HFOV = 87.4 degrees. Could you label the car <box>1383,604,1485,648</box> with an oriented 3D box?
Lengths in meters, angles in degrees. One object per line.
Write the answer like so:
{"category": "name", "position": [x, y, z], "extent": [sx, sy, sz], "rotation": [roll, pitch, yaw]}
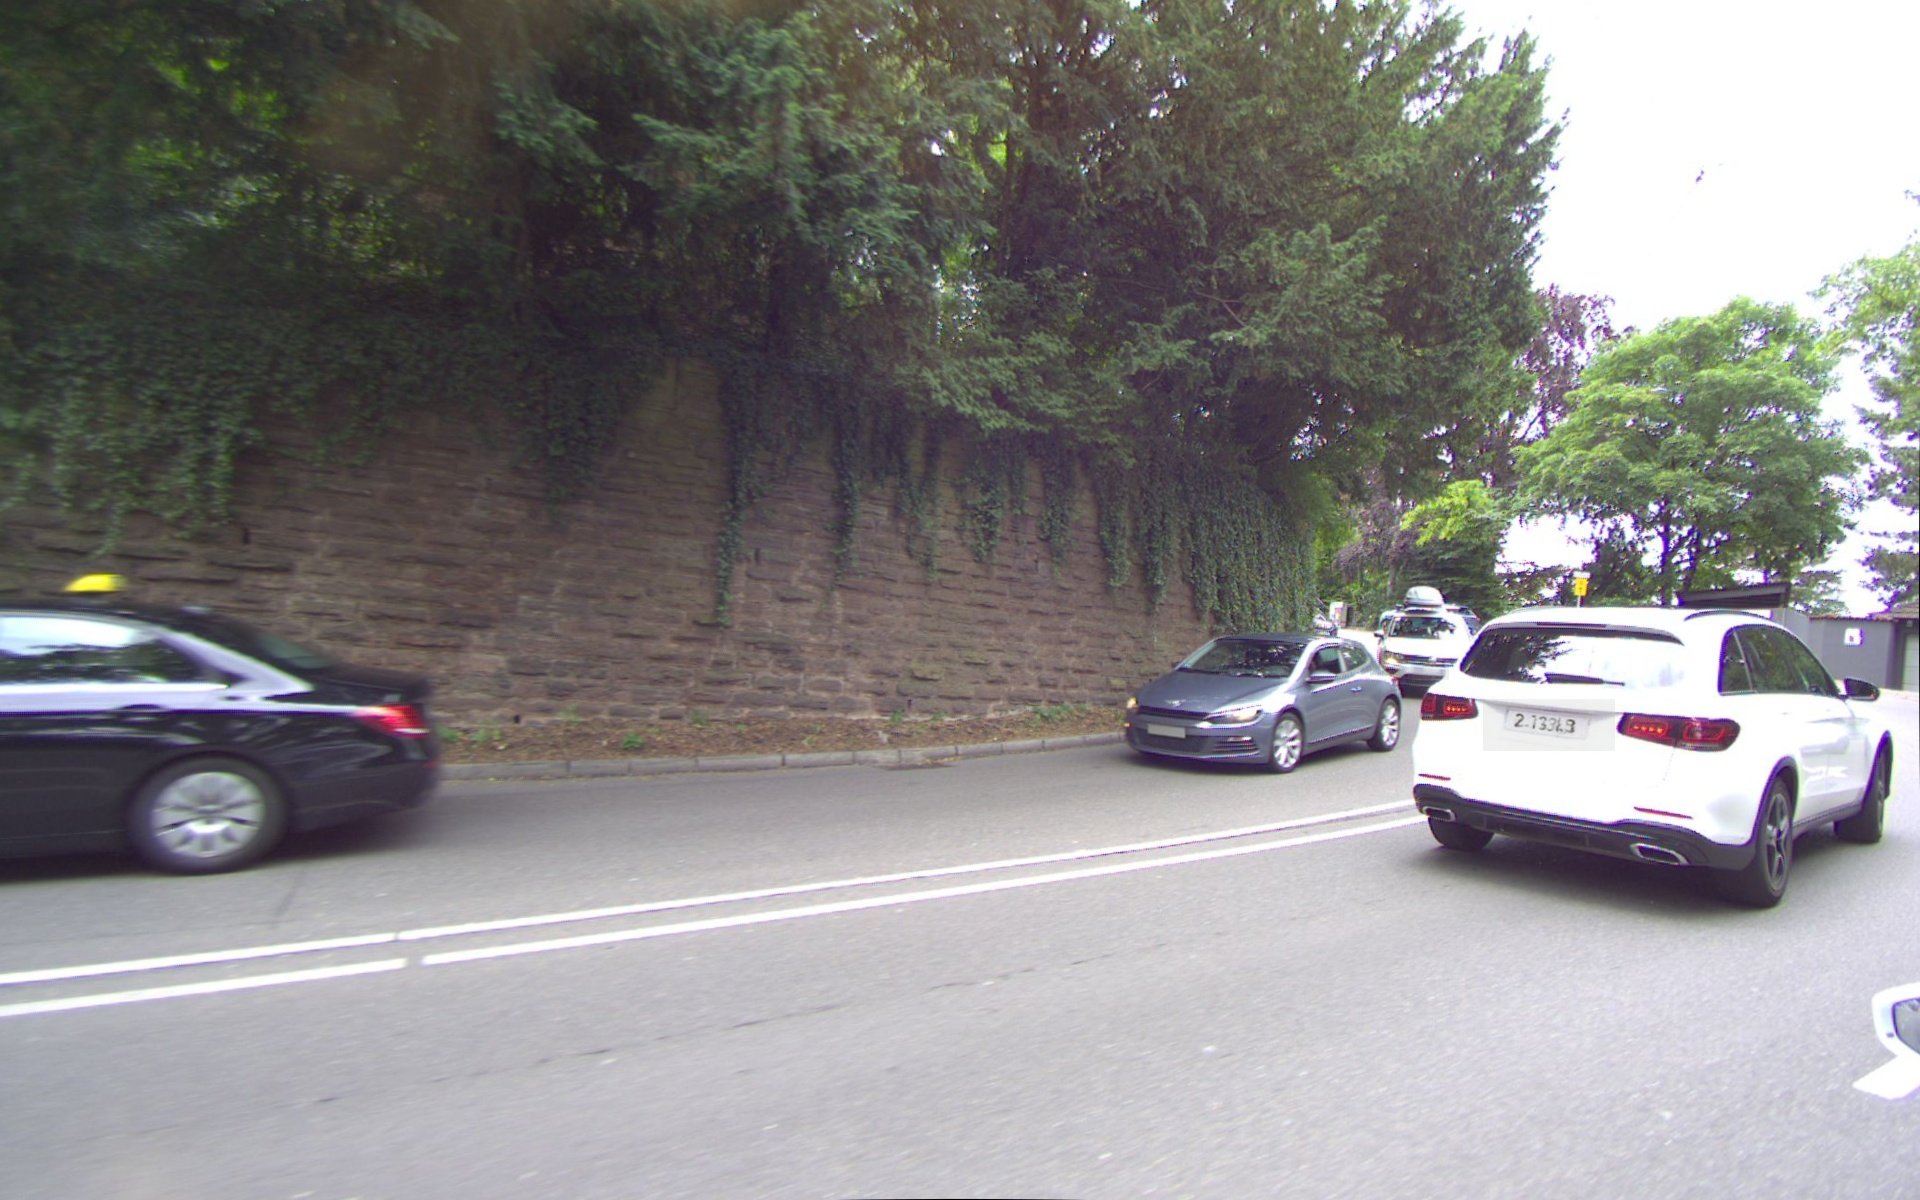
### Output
{"category": "car", "position": [18.468, 0.977, 39.307], "extent": [1.605, 1.438, 3.846], "rotation": [3, 1, -11]}

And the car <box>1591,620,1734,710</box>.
{"category": "car", "position": [14.110, 1.201, 20.436], "extent": [1.837, 1.554, 4.769], "rotation": [1, 0, 29]}

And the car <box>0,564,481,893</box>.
{"category": "car", "position": [-5.284, 0.629, 5.680], "extent": [4.572, 1.618, 1.855], "rotation": [2, -1, -28]}

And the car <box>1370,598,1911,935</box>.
{"category": "car", "position": [4.965, 0.886, 7.046], "extent": [4.630, 1.627, 1.845], "rotation": [2, -2, -38]}

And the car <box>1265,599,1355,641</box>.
{"category": "car", "position": [13.133, 0.714, 37.954], "extent": [1.631, 1.459, 4.293], "rotation": [1, 0, -3]}

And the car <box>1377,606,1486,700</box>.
{"category": "car", "position": [9.589, 1.006, 20.719], "extent": [1.741, 1.675, 4.386], "rotation": [2, 0, 22]}

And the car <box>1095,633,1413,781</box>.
{"category": "car", "position": [3.475, 1.082, 11.464], "extent": [3.933, 1.357, 1.754], "rotation": [2, -1, -44]}
